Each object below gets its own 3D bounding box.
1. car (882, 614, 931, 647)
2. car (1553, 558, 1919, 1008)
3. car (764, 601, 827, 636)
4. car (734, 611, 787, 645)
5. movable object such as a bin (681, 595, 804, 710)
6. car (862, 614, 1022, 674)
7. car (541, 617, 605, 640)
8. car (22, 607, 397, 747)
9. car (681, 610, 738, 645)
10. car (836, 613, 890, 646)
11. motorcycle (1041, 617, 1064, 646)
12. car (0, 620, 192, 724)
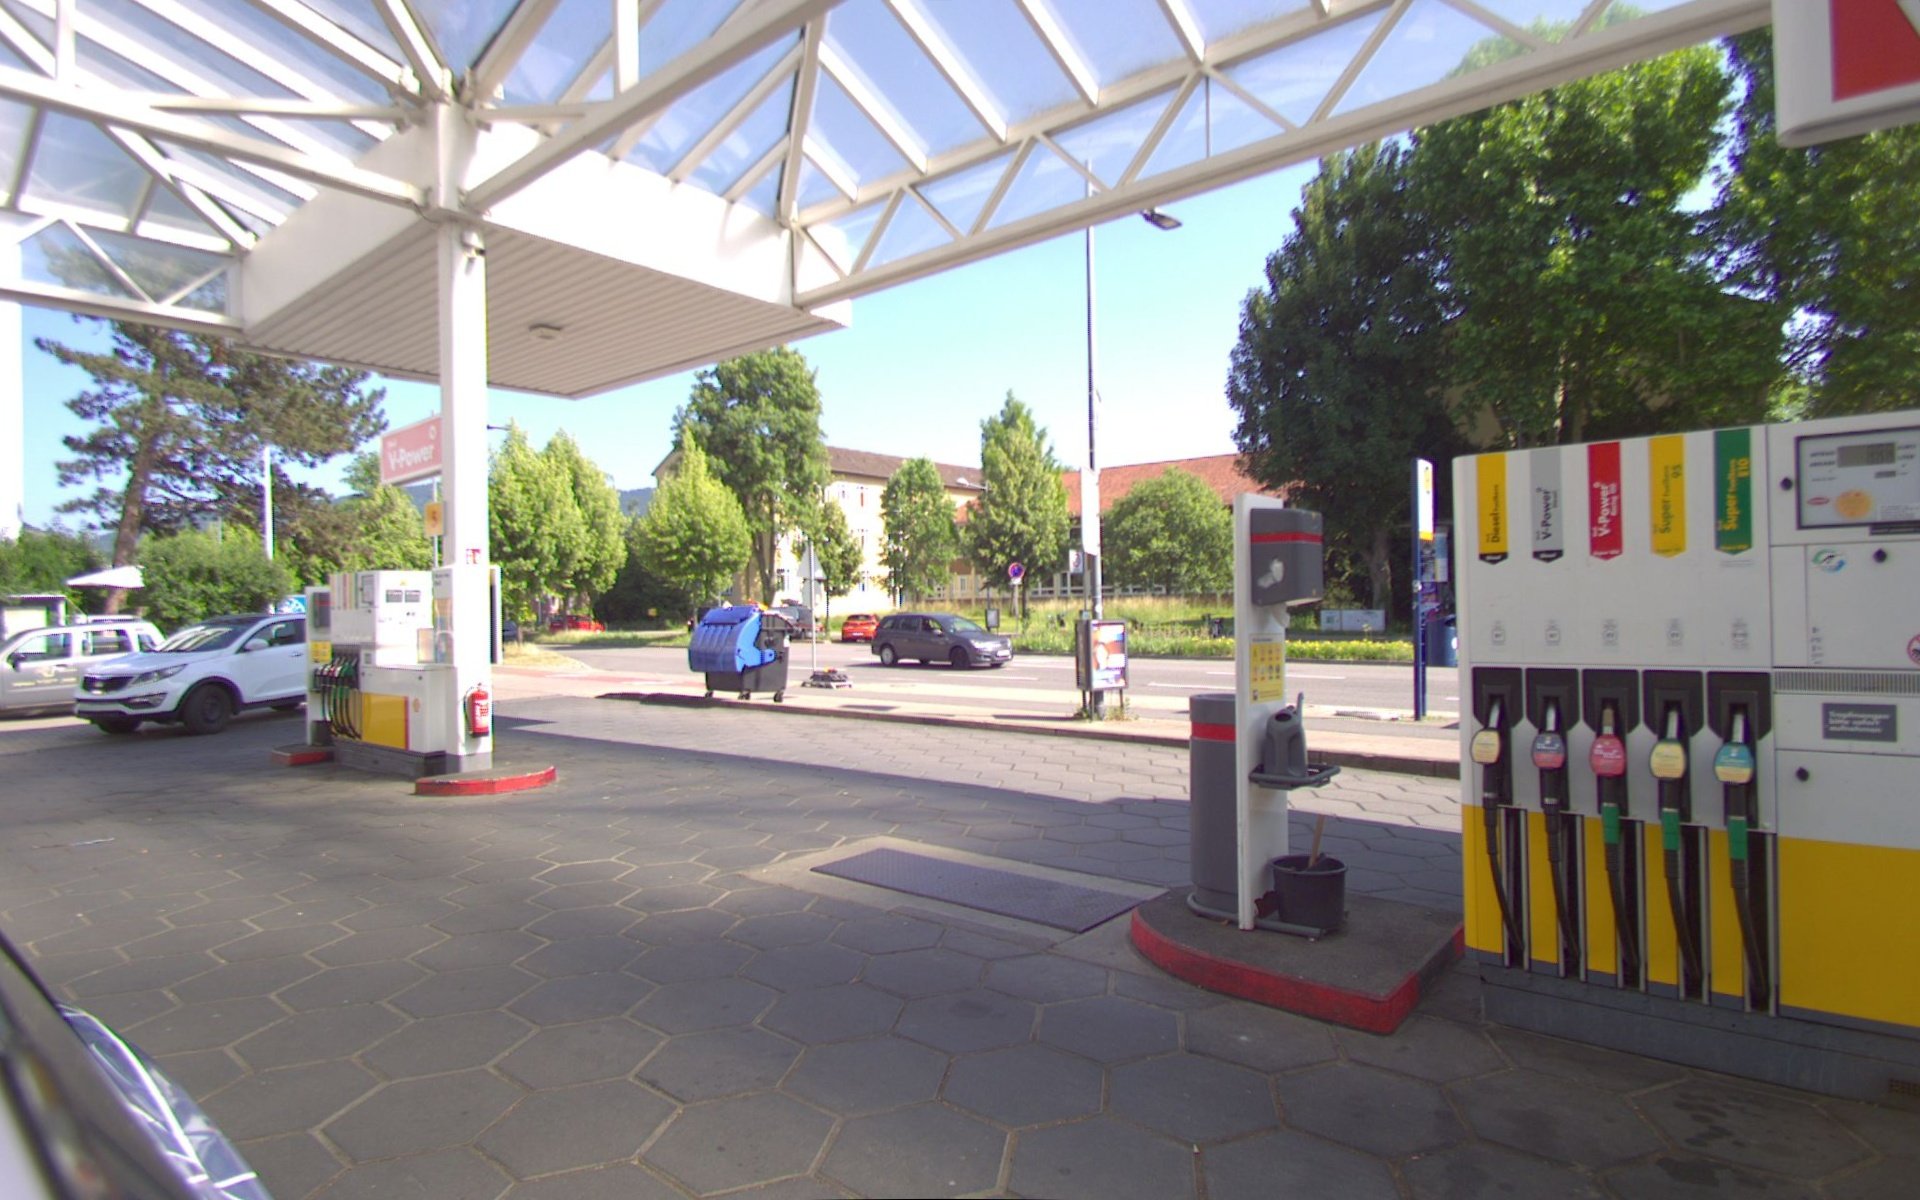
[{"bbox_3d":[-2.398,1.405,46.411,1.719,1.471,4.220,0,-2,4],"label":"car"},{"bbox_3d":[4.533,0.631,3.561,3.997,1.543,1.726,-1,-2,40],"label":"car"},{"bbox_3d":[-8.322,0.963,51.576,1.861,1.735,4.211,0,-2,11],"label":"car"},{"bbox_3d":[-10.386,1.470,53.047,1.856,1.735,4.224,1,-2,1],"label":"car"},{"bbox_3d":[-3.401,0.804,15.825,1.337,1.701,1.324,-1,-3,42],"label":"movable object such as a bin"},{"bbox_3d":[-0.552,1.164,27.770,4.372,1.479,1.549,-1,0,38],"label":"car"},{"bbox_3d":[-25.026,1.861,65.497,1.868,1.401,3.699,0,-2,22],"label":"car"},{"bbox_3d":[-11.019,1.029,15.311,1.943,1.719,4.287,-2,0,14],"label":"car"},{"bbox_3d":[-13.043,1.443,53.014,1.856,1.735,4.224,1,-2,1],"label":"car"},{"bbox_3d":[-4.568,1.382,48.053,1.857,1.471,4.220,0,-2,4],"label":"car"},{"bbox_3d":[3.736,1.272,40.868,0.552,1.122,1.749,-1,-1,17],"label":"motorcycle"},{"bbox_3d":[-16.184,1.254,18.098,1.692,1.629,3.612,-2,1,42],"label":"car"}]
